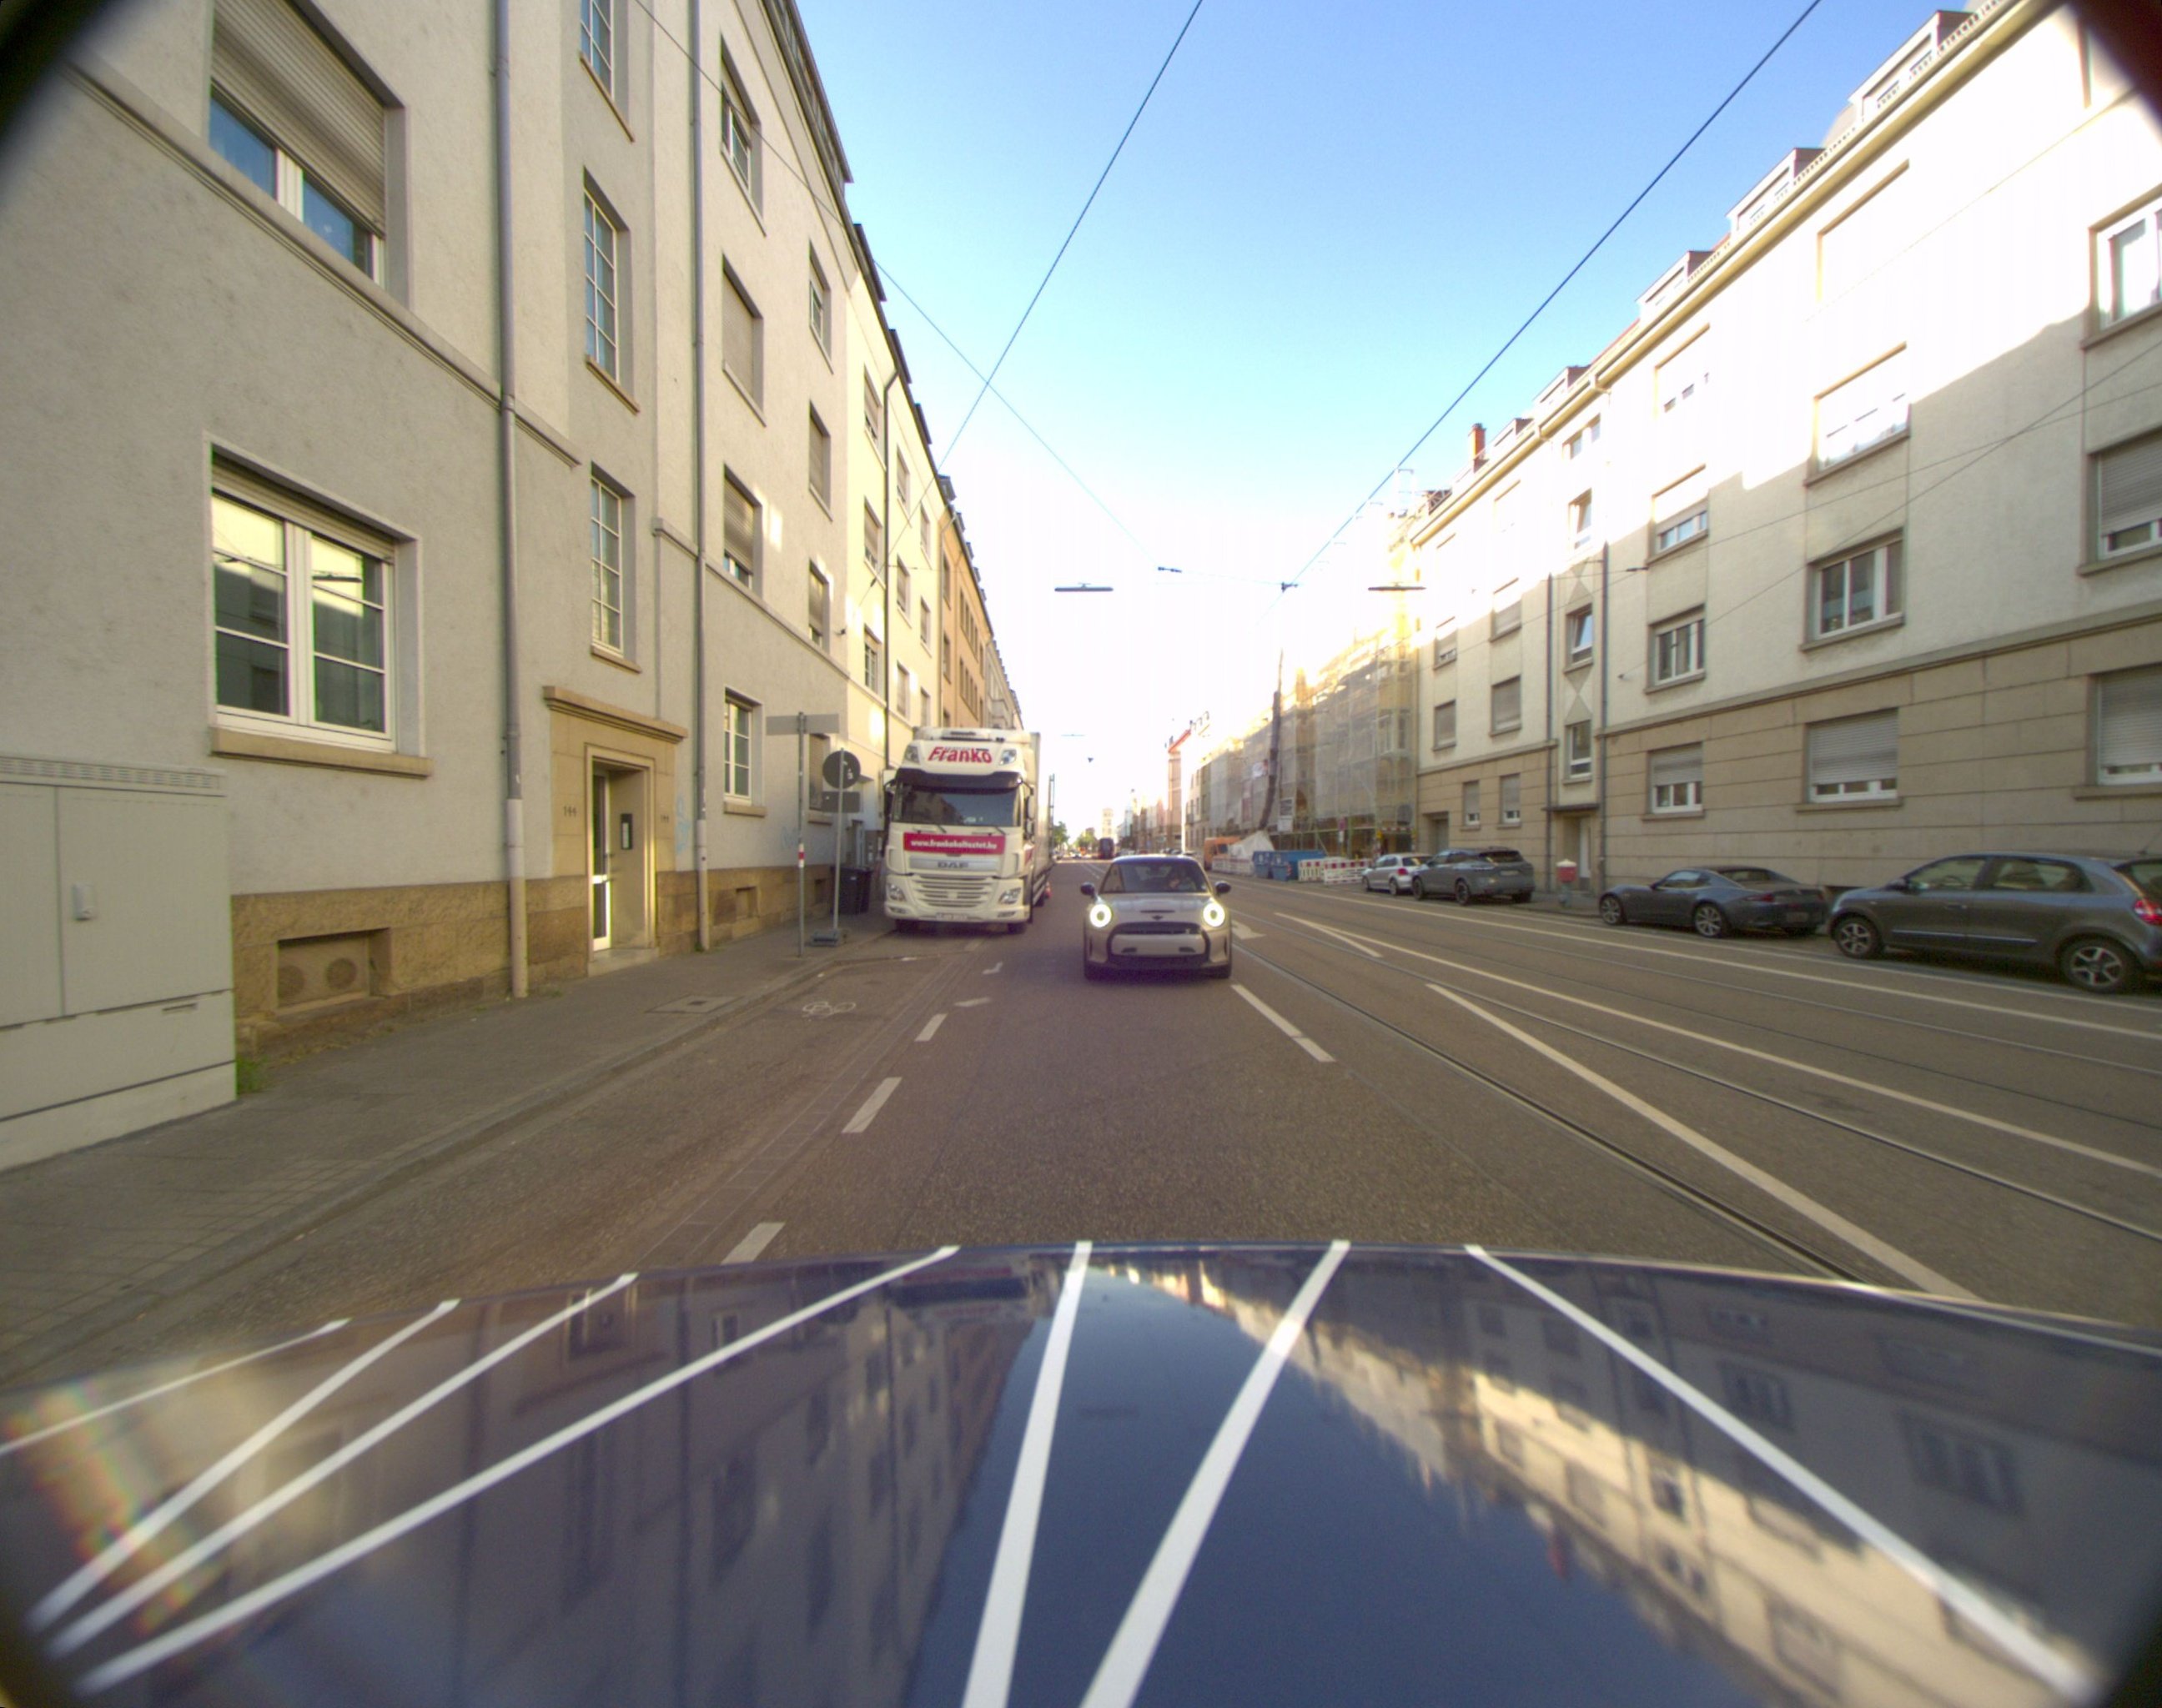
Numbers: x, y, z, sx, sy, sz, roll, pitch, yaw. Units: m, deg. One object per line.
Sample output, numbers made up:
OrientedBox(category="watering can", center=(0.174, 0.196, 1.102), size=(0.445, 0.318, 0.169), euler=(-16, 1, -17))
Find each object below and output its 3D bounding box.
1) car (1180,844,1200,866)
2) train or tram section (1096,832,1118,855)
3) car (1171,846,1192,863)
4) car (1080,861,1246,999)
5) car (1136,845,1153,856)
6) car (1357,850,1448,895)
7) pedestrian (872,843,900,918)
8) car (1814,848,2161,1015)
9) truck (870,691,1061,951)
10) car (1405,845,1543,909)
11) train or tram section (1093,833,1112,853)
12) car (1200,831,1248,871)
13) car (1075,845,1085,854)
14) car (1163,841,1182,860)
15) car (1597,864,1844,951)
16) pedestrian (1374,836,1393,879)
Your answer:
OrientedBox(category="car", center=(10.301, 0.047, 72.027), size=(1.657, 1.912, 3.766), euler=(-2, 1, 7))
OrientedBox(category="train or tram section", center=(4.188, -1.793, 125.720), size=(2.867, 3.542, 13.038), euler=(0, 1, -1))
OrientedBox(category="car", center=(10.357, 0.034, 78.232), size=(1.570, 1.674, 3.936), euler=(-2, 1, 0))
OrientedBox(category="car", center=(0.895, 0.812, 9.844), size=(1.727, 1.416, 3.817), euler=(0, 0, 1))
OrientedBox(category="car", center=(10.038, -0.602, 120.389), size=(2.231, 1.518, 4.959), euler=(-2, 1, 0))
OrientedBox(category="car", center=(11.275, 0.614, 26.875), size=(1.565, 1.372, 3.506), euler=(-3, 1, -2))
OrientedBox(category="pedestrian", center=(-4.304, 0.570, 16.762), size=(0.475, 1.620, 0.467), euler=(0, 2, 1))
OrientedBox(category="car", center=(11.597, 0.764, 9.343), size=(1.643, 1.549, 3.594), euler=(-3, 1, -1))
OrientedBox(category="truck", center=(-2.038, -0.682, 18.302), size=(2.700, 4.214, 11.774), euler=(0, 2, 0))
OrientedBox(category="car", center=(11.365, 0.577, 22.322), size=(1.752, 1.600, 4.157), euler=(-3, 1, -2))
OrientedBox(category="train or tram section", center=(3.891, -2.038, 138.907), size=(2.867, 3.542, 13.330), euler=(0, 1, -1))
OrientedBox(category="car", center=(10.152, -0.252, 54.396), size=(2.215, 2.681, 5.872), euler=(-2, 1, 0))
OrientedBox(category="car", center=(-0.196, -0.932, 157.468), size=(1.999, 1.871, 4.269), euler=(-2, 1, -2))
OrientedBox(category="car", center=(10.143, -0.387, 84.433), size=(1.570, 1.945, 4.183), euler=(-2, 1, 0))
OrientedBox(category="car", center=(11.474, 0.875, 13.965), size=(1.476, 1.213, 3.522), euler=(-3, 1, -2))
OrientedBox(category="pedestrian", center=(13.466, 0.134, 33.848), size=(0.519, 1.861, 0.762), euler=(-2, 2, -1))
